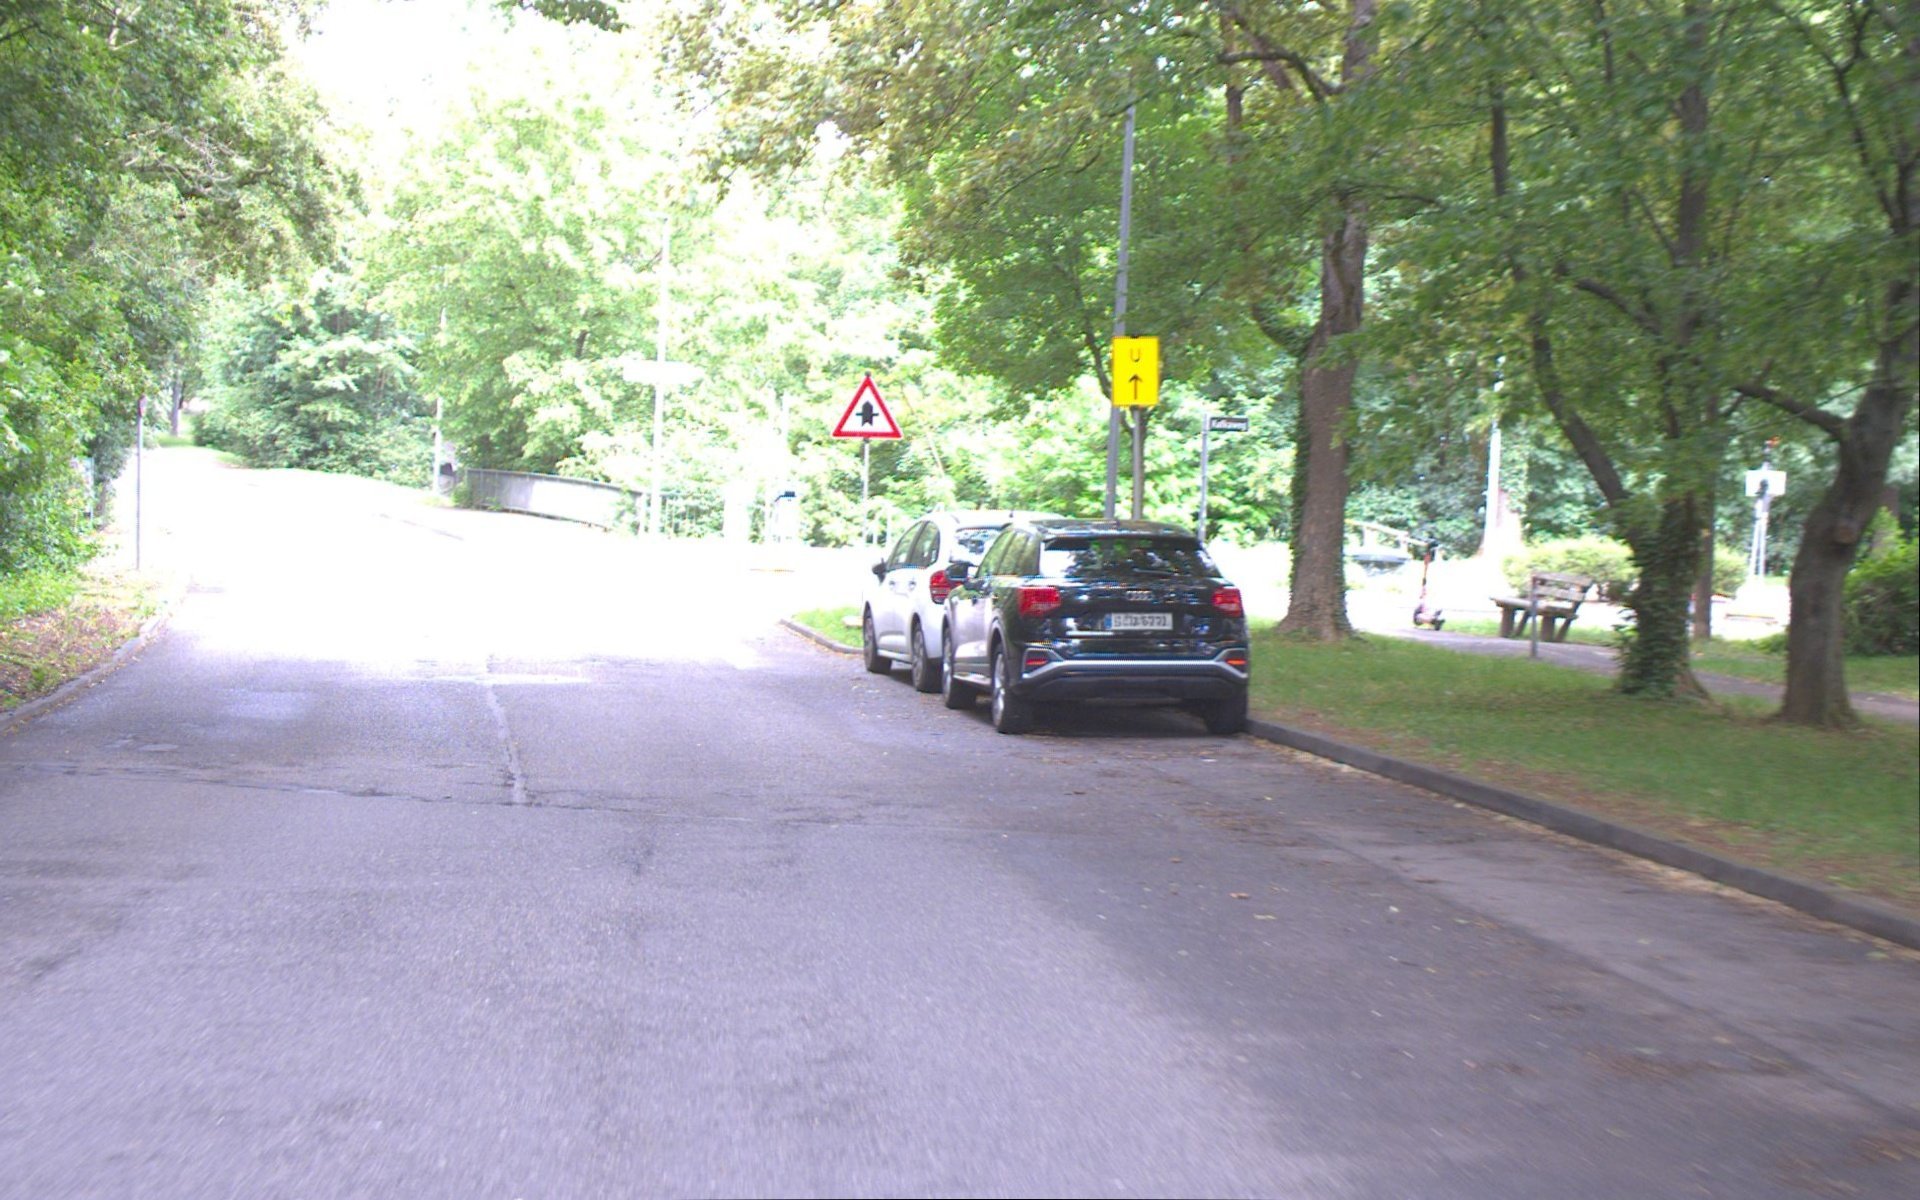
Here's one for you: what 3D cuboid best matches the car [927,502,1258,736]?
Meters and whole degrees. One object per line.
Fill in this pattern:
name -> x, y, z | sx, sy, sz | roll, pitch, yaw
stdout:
car -> 0.891, 0.078, 25.657 | 1.773, 1.517, 4.184 | 2, 2, -7

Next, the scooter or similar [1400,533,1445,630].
scooter or similar -> 6.362, -0.263, 47.323 | 0.283, 1.282, 1.108 | 2, 2, -7

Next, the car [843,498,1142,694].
car -> 0.210, -0.083, 30.022 | 1.773, 1.517, 3.782 | 2, 2, -12
